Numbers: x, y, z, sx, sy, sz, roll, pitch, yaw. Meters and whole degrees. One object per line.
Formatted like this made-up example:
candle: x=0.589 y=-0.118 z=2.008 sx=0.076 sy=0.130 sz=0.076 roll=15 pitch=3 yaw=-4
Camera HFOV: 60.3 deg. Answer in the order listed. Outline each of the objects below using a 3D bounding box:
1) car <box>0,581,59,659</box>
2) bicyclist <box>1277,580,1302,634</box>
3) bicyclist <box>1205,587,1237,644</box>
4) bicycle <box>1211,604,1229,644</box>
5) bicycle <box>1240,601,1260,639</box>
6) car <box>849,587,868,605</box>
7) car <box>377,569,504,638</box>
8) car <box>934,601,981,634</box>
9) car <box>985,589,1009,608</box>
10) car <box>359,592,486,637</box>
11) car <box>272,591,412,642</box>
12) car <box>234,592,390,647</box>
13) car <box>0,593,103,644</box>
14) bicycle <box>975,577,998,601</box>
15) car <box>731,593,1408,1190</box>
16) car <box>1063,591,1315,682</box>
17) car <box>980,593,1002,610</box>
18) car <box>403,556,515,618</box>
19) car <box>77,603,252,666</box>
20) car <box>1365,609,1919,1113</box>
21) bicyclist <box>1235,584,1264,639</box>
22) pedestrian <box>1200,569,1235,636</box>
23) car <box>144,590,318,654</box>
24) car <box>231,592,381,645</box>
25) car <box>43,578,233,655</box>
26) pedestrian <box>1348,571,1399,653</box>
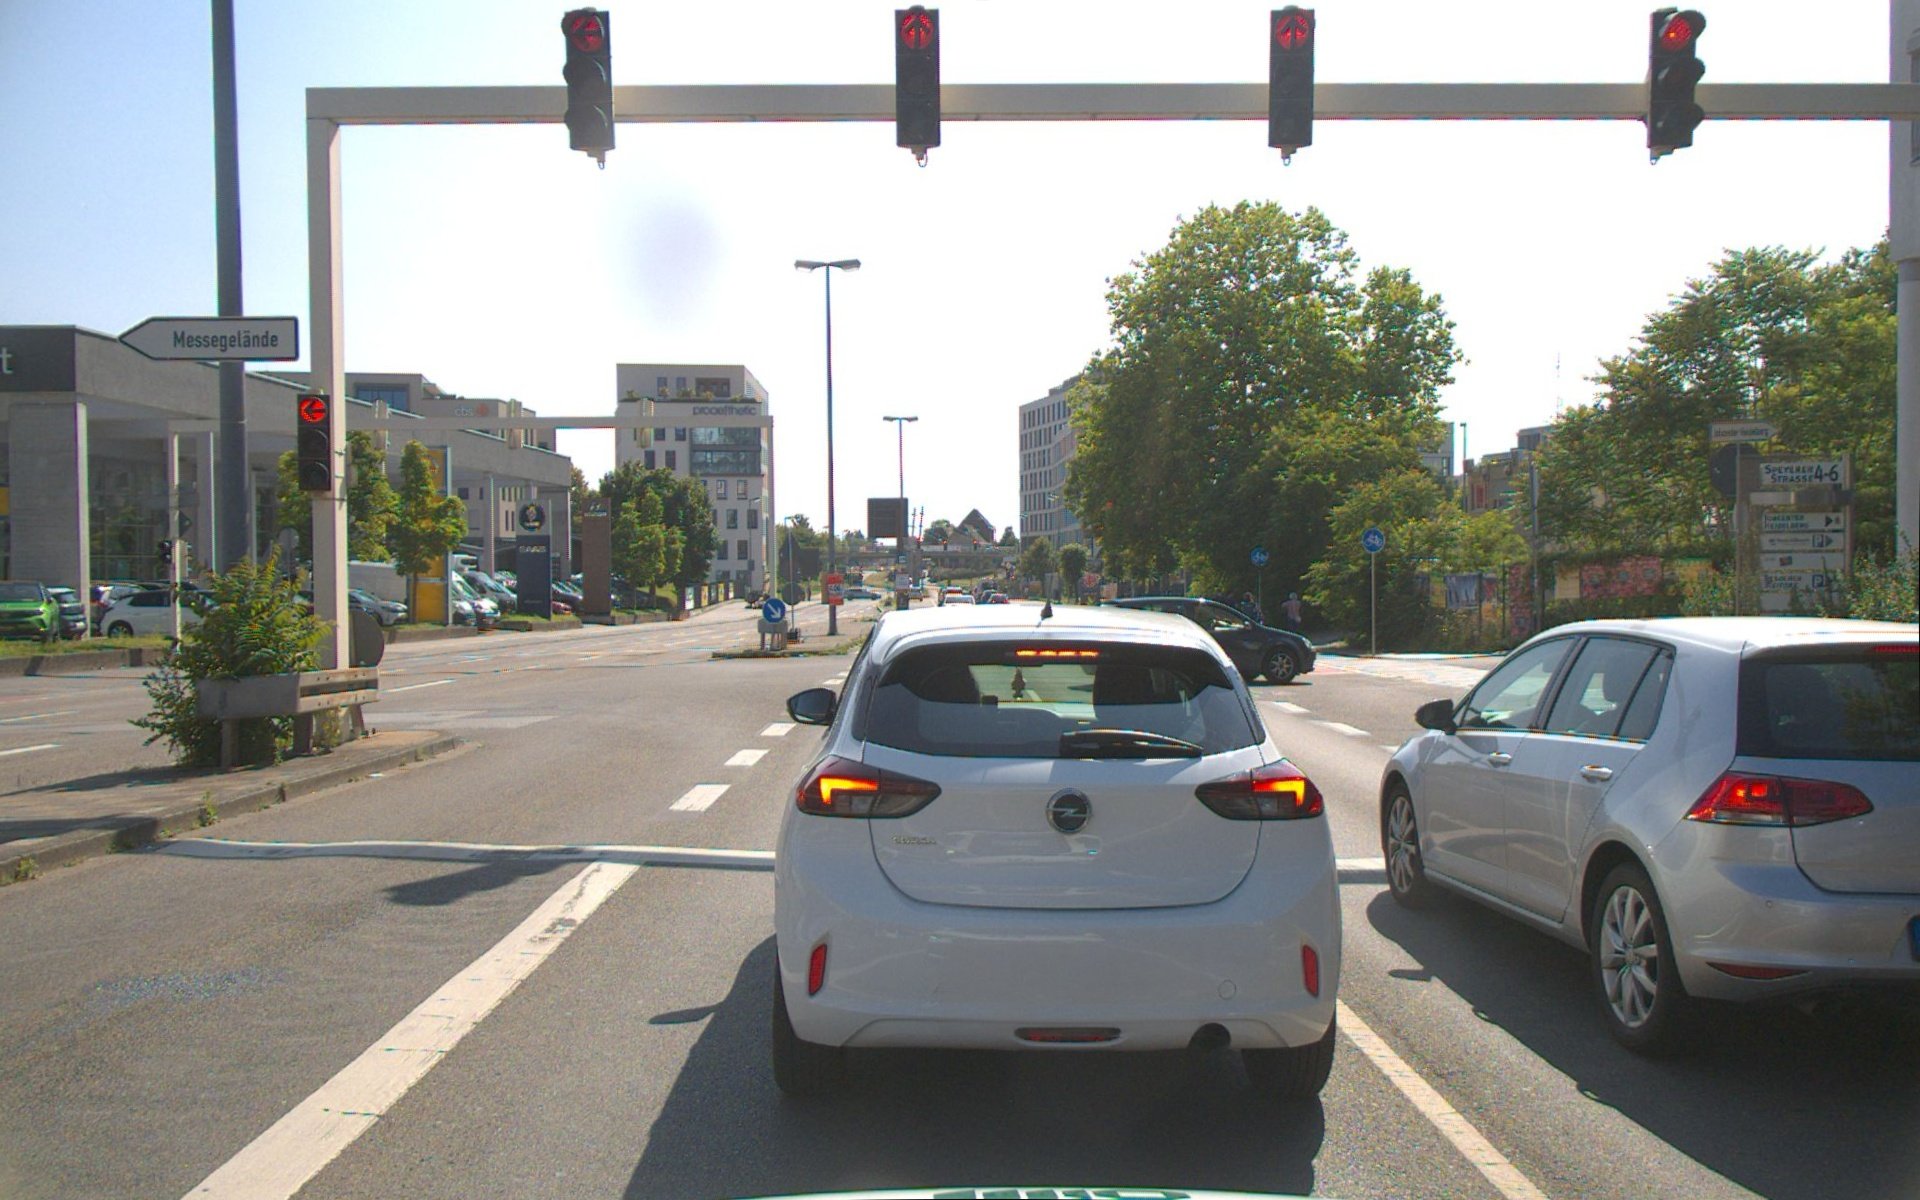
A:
car: x=-22.560 y=0.494 z=38.950 sx=1.887 sy=1.764 sz=3.250 roll=-1 pitch=-1 yaw=-37
bicyclist: x=10.404 y=0.229 z=52.275 sx=0.639 sy=1.666 sz=0.659 roll=1 pitch=-1 yaw=-1
bicyclist: x=8.350 y=0.492 z=52.931 sx=0.861 sy=1.803 sz=0.863 roll=0 pitch=0 yaw=-1
bicycle: x=8.301 y=0.766 z=52.905 sx=0.365 sy=1.238 sz=1.153 roll=1 pitch=0 yaw=-1
bicycle: x=9.035 y=0.619 z=51.508 sx=0.366 sy=1.167 sz=1.034 roll=1 pitch=-1 yaw=-3
car: x=-12.091 y=-0.443 z=197.207 sx=1.953 sy=2.049 sz=3.999 roll=-2 pitch=0 yaw=-1
car: x=-21.139 y=0.140 z=67.413 sx=4.401 sy=2.731 sz=2.130 roll=-1 pitch=0 yaw=8
car: x=-0.130 y=0.772 z=72.324 sx=1.953 sy=1.355 sz=3.999 roll=1 pitch=-1 yaw=-1
car: x=2.957 y=-0.125 z=132.166 sx=1.769 sy=1.410 sz=3.999 roll=1 pitch=-1 yaw=-1
car: x=-21.068 y=0.557 z=64.966 sx=4.265 sy=1.726 sz=2.001 roll=-1 pitch=0 yaw=4
car: x=-22.061 y=0.584 z=59.176 sx=4.270 sy=1.726 sz=1.999 roll=-1 pitch=0 yaw=-4
car: x=-21.018 y=0.616 z=53.770 sx=4.270 sy=1.726 sz=1.999 roll=0 pitch=0 yaw=-3
car: x=-26.264 y=0.536 z=45.530 sx=4.276 sy=1.290 sz=1.996 roll=-2 pitch=-1 yaw=-9
bicycle: x=2.496 y=-1.012 z=155.575 sx=1.953 sy=2.195 sz=3.999 roll=-1 pitch=0 yaw=-1
car: x=0.253 y=0.742 z=6.282 sx=1.743 sy=1.520 sz=3.999 roll=-1 pitch=0 yaw=-1
car: x=3.900 y=0.597 z=28.581 sx=3.913 sy=1.467 sz=1.996 roll=-1 pitch=0 yaw=-9
car: x=2.670 y=0.109 z=142.661 sx=1.769 sy=1.410 sz=3.999 roll=1 pitch=-1 yaw=-1
car: x=-21.985 y=-0.582 z=72.713 sx=4.265 sy=2.646 sz=2.001 roll=-1 pitch=0 yaw=4
car: x=-22.022 y=0.935 z=45.937 sx=3.912 sy=1.627 sz=1.997 roll=-1 pitch=0 yaw=-8
car: x=3.119 y=0.776 z=6.888 sx=1.771 sy=1.454 sz=3.998 roll=-1 pitch=0 yaw=-2
bicyclist: x=9.017 y=0.357 z=51.505 sx=0.675 sy=1.672 sz=0.775 roll=0 pitch=0 yaw=-9
pedestrian: x=8.839 y=0.089 z=56.735 sx=1.006 sy=2.278 sz=1.038 roll=0 pitch=0 yaw=-1
car: x=-21.388 y=0.635 z=48.627 sx=4.211 sy=1.796 sz=1.999 roll=-1 pitch=0 yaw=-4
car: x=-22.104 y=0.608 z=56.040 sx=4.270 sy=1.726 sz=1.999 roll=-1 pitch=0 yaw=-4
car: x=-20.730 y=0.403 z=41.845 sx=3.793 sy=1.870 sz=1.999 roll=-1 pitch=0 yaw=-4
pedestrian: x=10.467 y=0.299 z=41.881 sx=1.006 sy=2.049 sz=1.038 roll=0 pitch=0 yaw=-1
